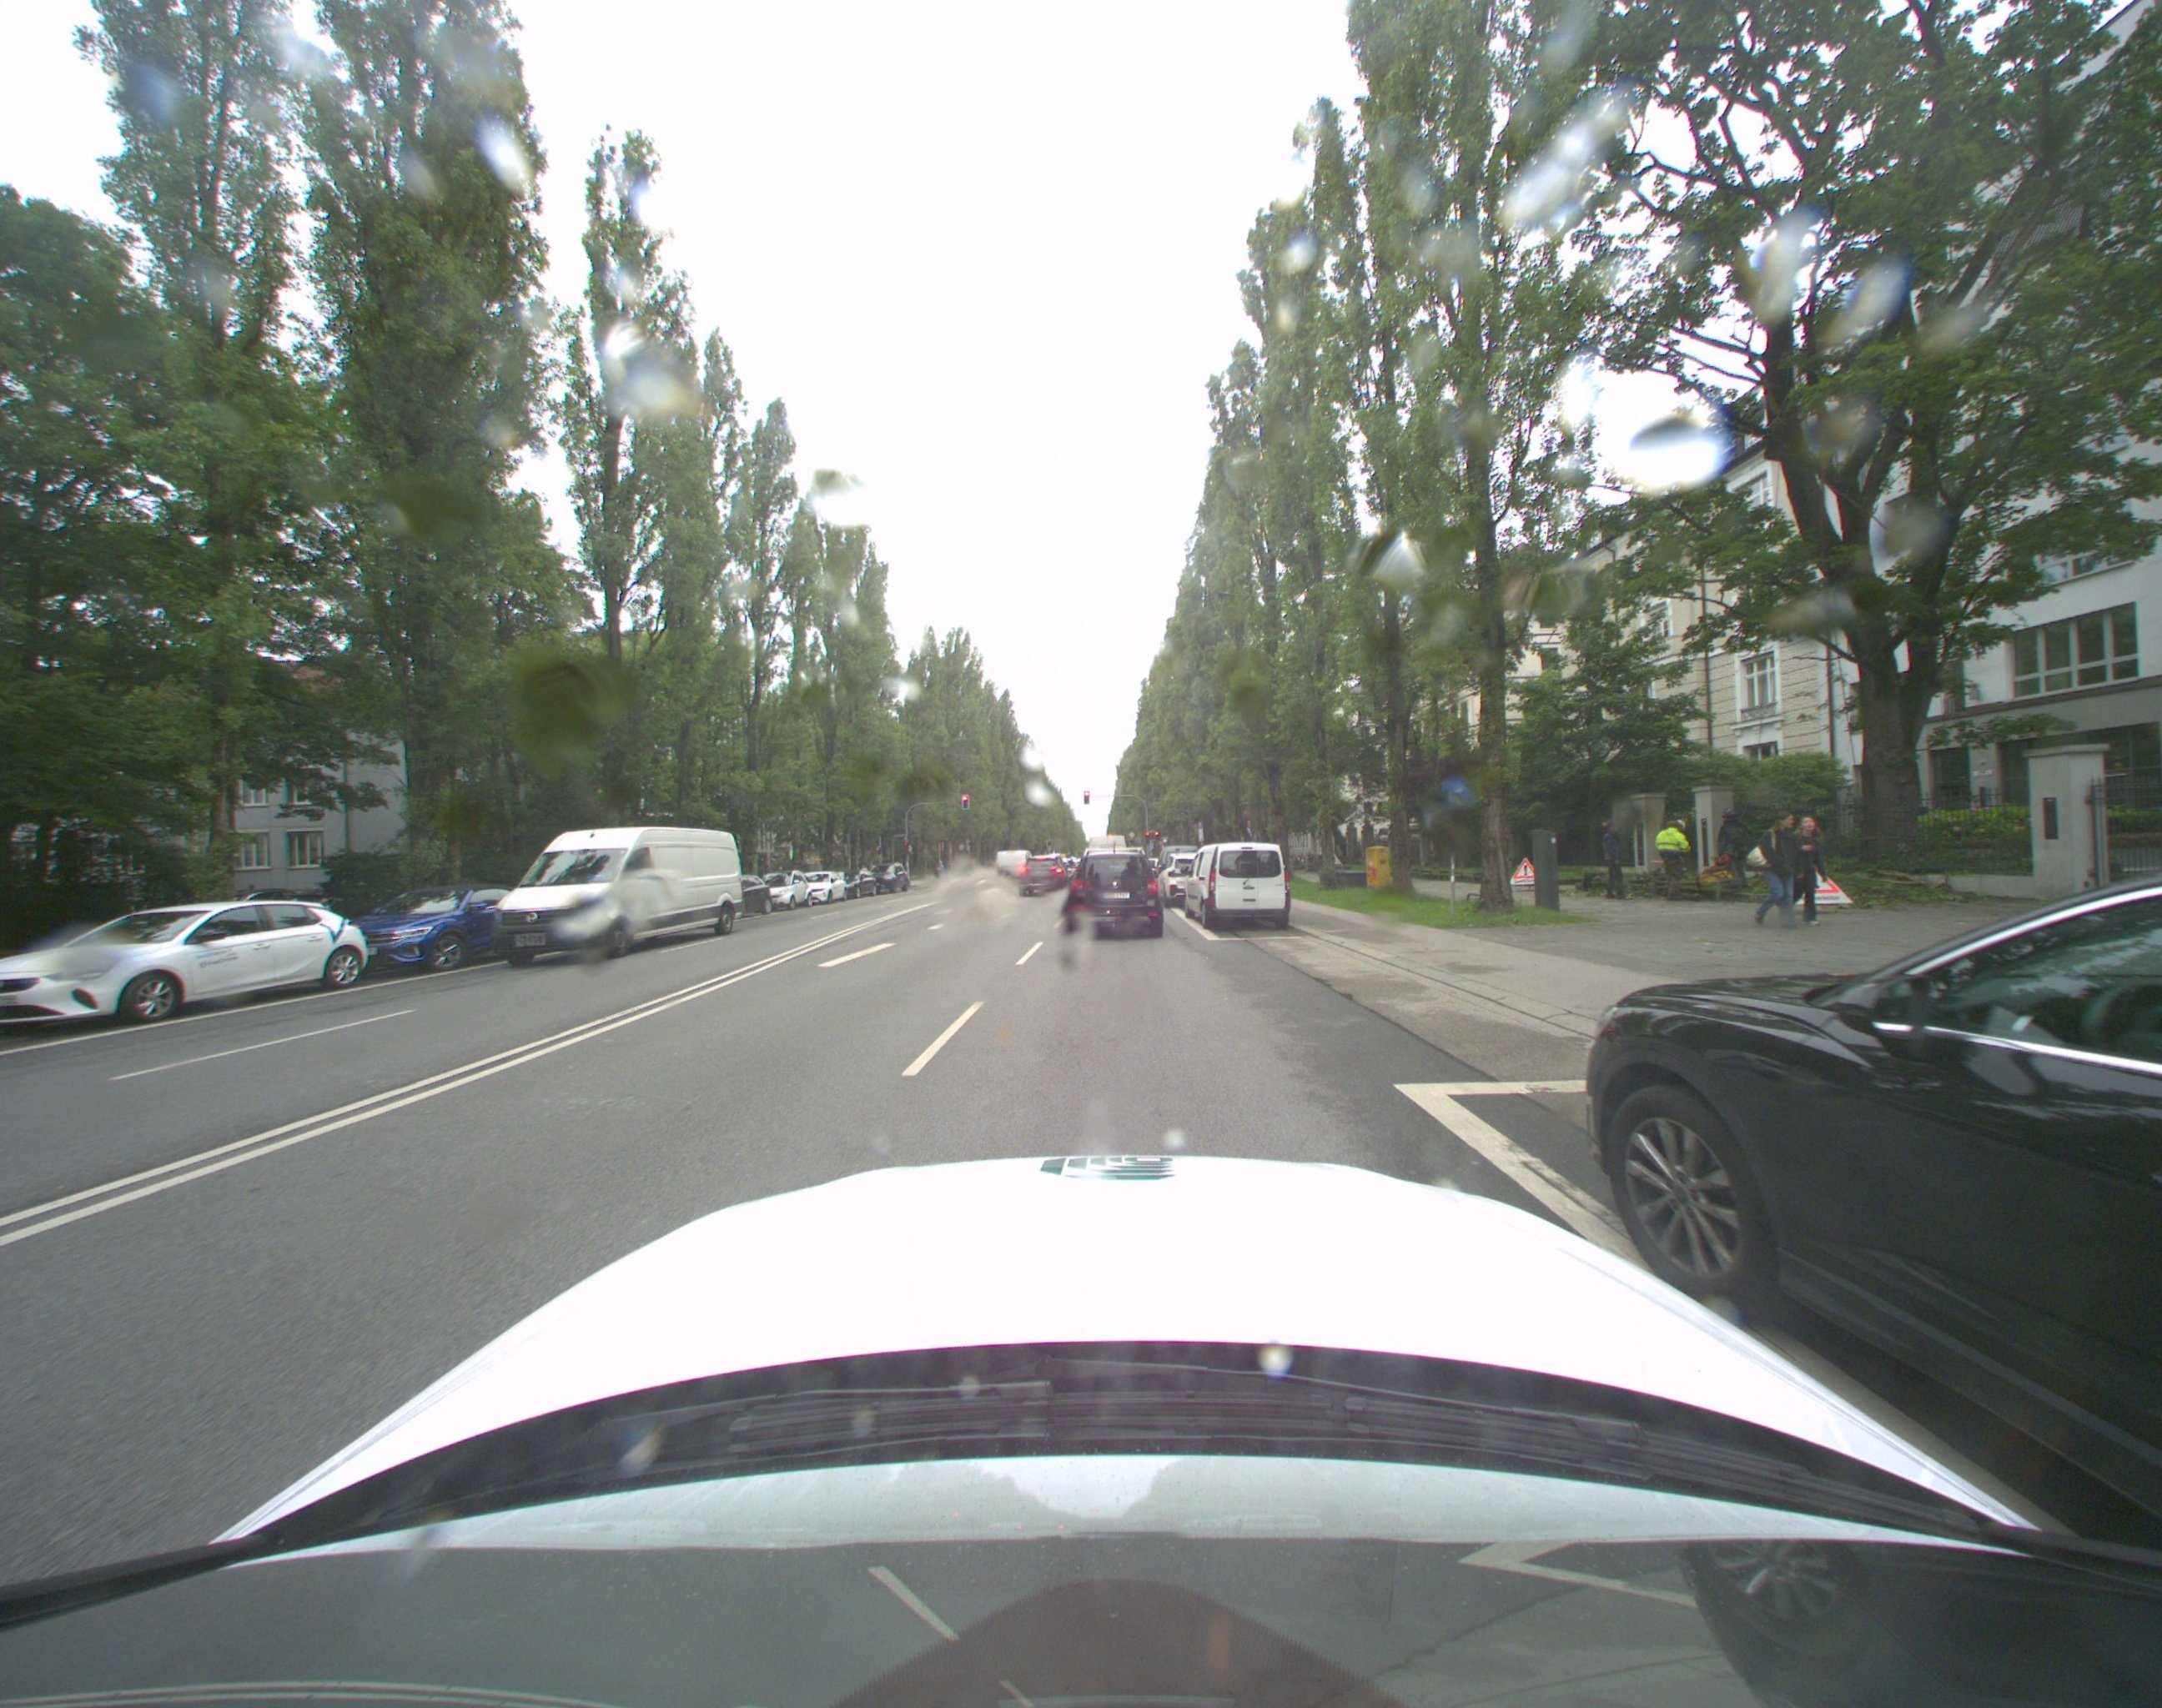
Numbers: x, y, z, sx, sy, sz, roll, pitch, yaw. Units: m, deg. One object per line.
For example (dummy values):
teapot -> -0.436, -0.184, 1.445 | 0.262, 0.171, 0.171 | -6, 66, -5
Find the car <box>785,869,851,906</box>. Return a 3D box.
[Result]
car -> -11.656, 1.454, 36.324 | 1.619, 1.389, 4.164 | -4, 0, -2

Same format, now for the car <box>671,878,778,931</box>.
car -> -11.800, 1.617, 27.226 | 1.594, 1.425, 3.854 | -5, 0, 3

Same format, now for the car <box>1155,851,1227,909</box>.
car -> 3.342, 0.739, 25.415 | 1.734, 1.593, 4.213 | -2, 0, 2

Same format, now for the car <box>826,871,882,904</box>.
car -> -11.589, 1.673, 41.827 | 1.619, 1.389, 4.165 | -4, 0, -1

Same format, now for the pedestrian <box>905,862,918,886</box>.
pedestrian -> -11.343, 1.327, 54.520 | 0.657, 1.577, 0.530 | -3, 0, 2

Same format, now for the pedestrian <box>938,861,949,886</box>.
pedestrian -> -8.912, 1.267, 52.797 | 0.526, 1.577, 0.663 | -3, 0, 2

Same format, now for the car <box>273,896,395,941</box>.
car -> -35.398, 2.997, 38.744 | 1.986, 1.772, 4.002 | -2, 0, 2

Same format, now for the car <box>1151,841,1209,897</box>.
car -> 3.660, 0.533, 30.686 | 1.729, 1.895, 4.026 | -2, 0, 1

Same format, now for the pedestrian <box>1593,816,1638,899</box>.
pedestrian -> 12.414, 0.082, 18.935 | 0.487, 1.862, 0.635 | -3, -1, -16

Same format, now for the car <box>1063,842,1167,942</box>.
car -> 0.677, 0.685, 16.566 | 1.849, 1.770, 4.002 | 0, 0, 2

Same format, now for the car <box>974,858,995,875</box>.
car -> -10.388, 1.334, 87.819 | 1.682, 1.783, 3.776 | -2, 0, 2

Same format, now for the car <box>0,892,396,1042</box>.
car -> -12.291, 1.412, 11.369 | 1.765, 1.452, 4.233 | -5, 0, 0

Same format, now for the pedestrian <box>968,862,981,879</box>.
pedestrian -> -10.361, 1.604, 79.188 | 0.887, 1.655, 0.868 | -2, -1, -36

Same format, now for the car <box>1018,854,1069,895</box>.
car -> -1.501, 0.803, 33.939 | 1.775, 1.620, 4.026 | 0, 0, 1

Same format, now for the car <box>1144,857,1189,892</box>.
car -> 3.800, 0.893, 36.759 | 1.729, 1.387, 3.563 | -2, 0, 1

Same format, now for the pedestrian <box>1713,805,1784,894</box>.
pedestrian -> 14.219, -0.110, 17.359 | 0.904, 1.800, 0.825 | -3, 2, -20

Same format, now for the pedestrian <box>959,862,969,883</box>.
pedestrian -> -8.167, 1.289, 56.898 | 0.515, 1.485, 0.537 | -3, 0, 2

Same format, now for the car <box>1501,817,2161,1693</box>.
car -> 2.828, 0.681, 1.526 | 1.873, 1.540, 4.466 | -2, 0, 2

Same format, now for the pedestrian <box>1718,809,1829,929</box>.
pedestrian -> 10.525, 0.223, 12.419 | 0.850, 1.717, 0.867 | -4, -1, 1

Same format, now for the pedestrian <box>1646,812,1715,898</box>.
pedestrian -> 12.995, 0.025, 17.661 | 0.801, 1.782, 0.816 | -3, -1, -16

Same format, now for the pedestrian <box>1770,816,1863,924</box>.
pedestrian -> 11.267, 0.239, 12.506 | 0.565, 1.579, 0.867 | -3, -1, 1

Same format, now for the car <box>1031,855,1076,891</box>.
car -> -1.312, 0.885, 40.276 | 1.987, 1.560, 4.000 | -3, 0, 1

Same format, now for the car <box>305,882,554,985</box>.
car -> -12.099, 1.397, 15.466 | 1.704, 1.451, 3.585 | -5, 0, 0

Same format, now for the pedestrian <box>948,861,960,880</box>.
pedestrian -> -12.502, 1.605, 80.042 | 0.874, 1.764, 0.881 | -3, 0, 11

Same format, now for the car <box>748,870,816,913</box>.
car -> -11.699, 1.446, 32.035 | 1.422, 1.447, 2.966 | -5, 0, 1

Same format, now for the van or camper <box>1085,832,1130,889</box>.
van or camper -> 1.217, 0.309, 39.473 | 1.969, 2.548, 4.024 | -2, 0, 0

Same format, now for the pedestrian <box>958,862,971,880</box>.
pedestrian -> -11.171, 1.611, 78.049 | 0.887, 1.655, 0.868 | -2, -1, -36

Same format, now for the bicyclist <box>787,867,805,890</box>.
bicyclist -> -21.505, 1.852, 61.514 | 0.899, 1.722, 0.827 | -3, -1, 11

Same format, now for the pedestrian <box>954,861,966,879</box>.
pedestrian -> -11.712, 1.553, 79.017 | 0.874, 1.764, 0.881 | -3, 0, 11

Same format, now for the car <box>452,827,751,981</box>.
car -> -9.596, 0.863, 17.357 | 2.221, 2.483, 6.756 | -4, 0, 0

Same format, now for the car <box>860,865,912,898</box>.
car -> -11.374, 1.570, 47.776 | 1.844, 1.654, 4.694 | -4, 0, -1

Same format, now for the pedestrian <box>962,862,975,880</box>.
pedestrian -> -10.693, 1.592, 77.294 | 0.887, 1.655, 0.868 | -2, -1, -36

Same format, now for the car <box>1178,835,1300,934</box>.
car -> 3.378, 0.600, 18.228 | 1.845, 1.881, 4.167 | -2, 0, 0

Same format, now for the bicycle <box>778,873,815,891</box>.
bicycle -> -21.500, 2.106, 61.533 | 2.519, 1.237, 0.815 | -3, 0, 11

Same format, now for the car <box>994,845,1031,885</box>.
car -> -3.811, 0.609, 46.026 | 1.776, 2.111, 4.022 | -2, 0, -1

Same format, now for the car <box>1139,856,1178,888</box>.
car -> 3.940, 0.887, 42.062 | 1.729, 1.475, 3.563 | -2, 0, 1
